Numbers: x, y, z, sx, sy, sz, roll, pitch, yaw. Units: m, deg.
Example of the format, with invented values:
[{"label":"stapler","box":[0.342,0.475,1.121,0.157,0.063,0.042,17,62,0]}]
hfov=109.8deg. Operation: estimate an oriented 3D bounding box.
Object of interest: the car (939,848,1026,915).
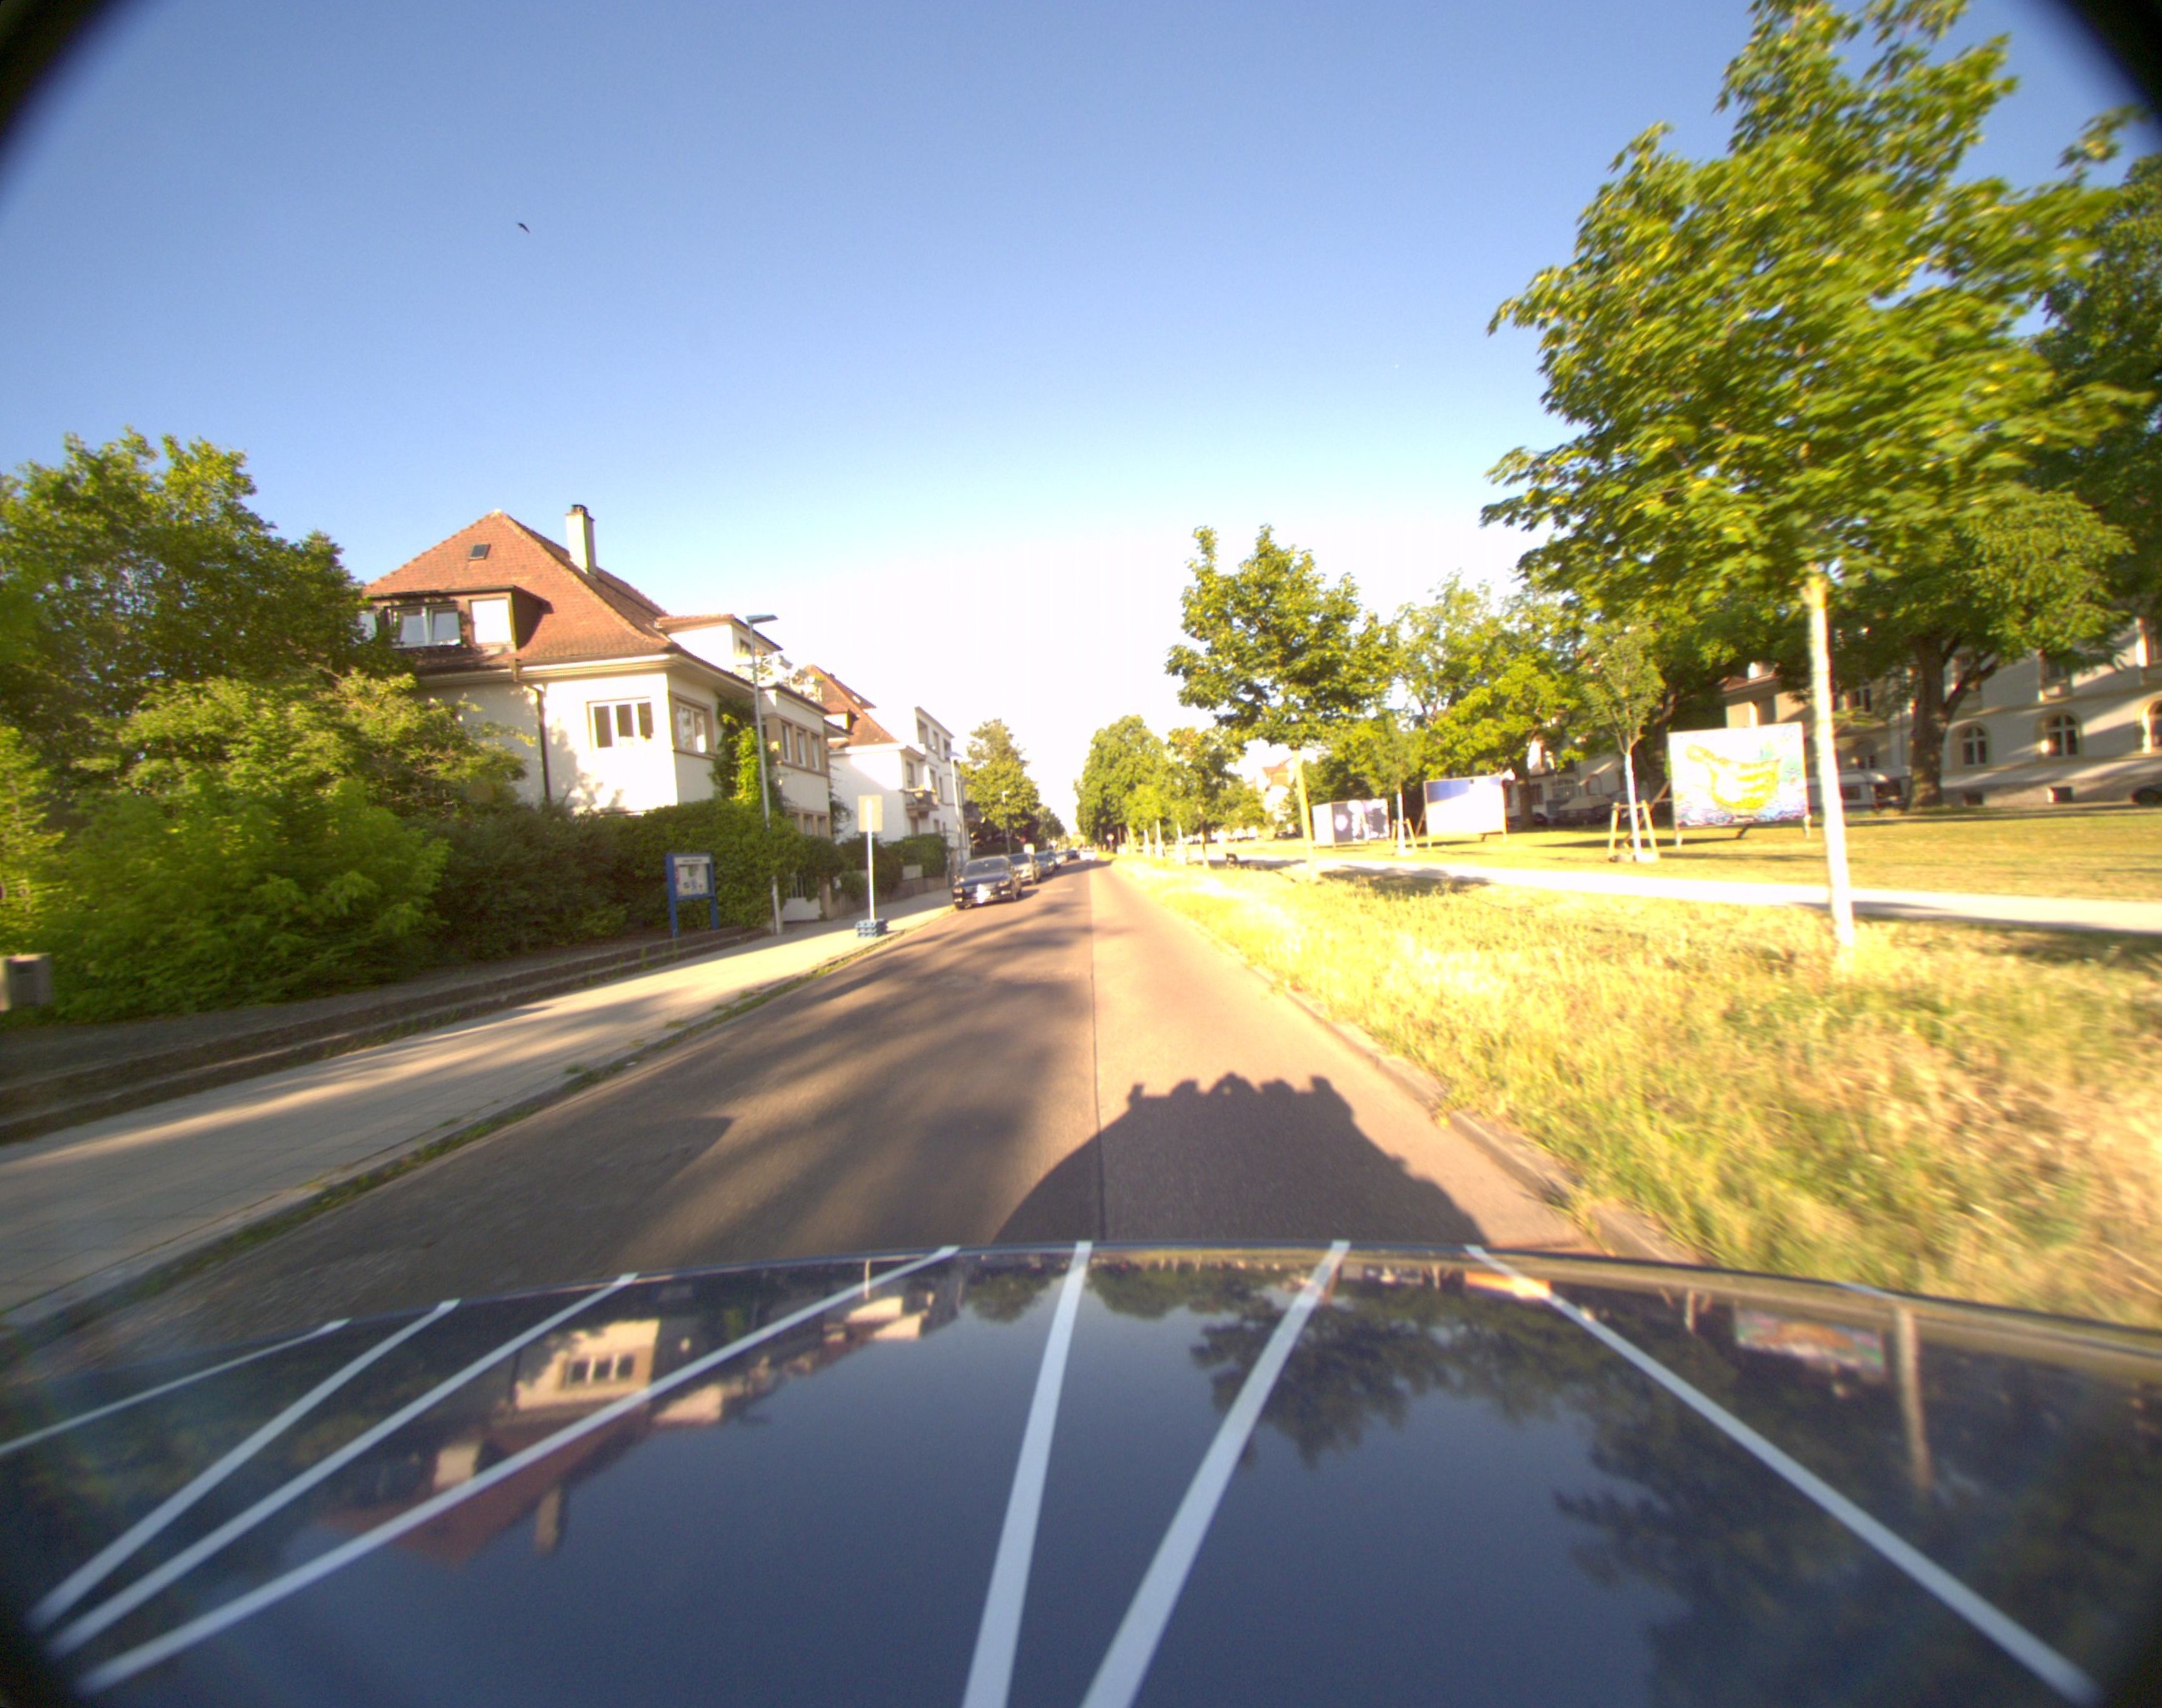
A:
[{"label":"car","box":[-3.044,0.774,24.568,1.999,1.588,4.884,-8,2,0]}]

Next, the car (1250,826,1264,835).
[{"label":"car","box":[35.673,-4.730,153.979,1.998,1.693,4.000,-4,0,1]}]

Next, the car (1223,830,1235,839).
[{"label":"car","box":[35.939,-4.743,185.034,2.125,2.002,3.998,-1,2,-1]}]

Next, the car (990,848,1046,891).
[{"label":"car","box":[-2.858,0.656,35.498,1.888,1.528,4.461,-7,2,3]}]

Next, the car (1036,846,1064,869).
[{"label":"car","box":[-2.634,0.240,65.862,1.880,1.525,4.589,-9,2,2]}]

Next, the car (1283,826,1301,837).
[{"label":"car","box":[35.156,-3.768,126.905,1.998,1.834,3.999,-1,2,2]}]

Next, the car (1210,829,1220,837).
[{"label":"car","box":[36.276,-5.605,205.255,1.998,2.002,4.001,-4,0,3]}]

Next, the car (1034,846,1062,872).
[{"label":"car","box":[-2.585,0.371,60.025,1.805,1.639,4.582,-9,2,0]}]

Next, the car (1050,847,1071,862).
[{"label":"car","box":[-2.348,0.037,89.125,2.111,1.396,4.132,-9,0,1]}]

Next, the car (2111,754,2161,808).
[{"label":"car","box":[39.994,-2.729,26.445,1.894,1.901,4.714,-4,1,2]}]

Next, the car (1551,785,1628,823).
[{"label":"car","box":[34.262,-3.304,51.370,1.999,2.162,4.570,-4,0,-1]}]

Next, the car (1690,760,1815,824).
[{"label":"car","box":[39.970,-3.607,45.511,1.998,3.230,6.074,-4,0,1]}]

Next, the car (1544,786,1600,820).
[{"label":"car","box":[40.197,-4.161,62.294,1.998,2.527,3.998,-4,3,1]}]

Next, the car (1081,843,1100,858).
[{"label":"car","box":[1.148,-0.429,86.658,1.998,1.483,3.999,-5,1,1]}]

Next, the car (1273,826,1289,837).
[{"label":"car","box":[35.171,-3.985,133.676,1.998,1.834,3.999,-1,2,2]}]

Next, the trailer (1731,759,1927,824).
[{"label":"trailer","box":[34.022,-2.725,35.003,2.479,2.644,6.634,-1,2,0]}]

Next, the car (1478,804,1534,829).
[{"label":"car","box":[34.488,-3.028,61.741,1.999,1.718,4.344,-4,0,0]}]

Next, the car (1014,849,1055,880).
[{"label":"car","box":[-2.738,0.613,45.856,1.916,1.550,4.566,-8,0,1]}]

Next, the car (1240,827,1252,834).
[{"label":"car","box":[41.451,-5.870,191.246,1.999,1.835,3.998,-1,2,-2]}]

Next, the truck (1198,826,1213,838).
[{"label":"truck","box":[36.215,-6.347,221.065,2.785,3.128,7.709,-5,1,0]}]

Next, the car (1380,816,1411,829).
[{"label":"car","box":[40.627,-4.064,98.246,1.999,1.490,3.998,-4,0,-4]}]

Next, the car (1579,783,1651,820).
[{"label":"car","box":[40.250,-3.890,57.452,1.950,2.625,5.043,-1,2,1]}]

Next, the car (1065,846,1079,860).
[{"label":"car","box":[-1.419,-0.127,126.327,1.998,2.179,4.000,-4,0,2]}]
